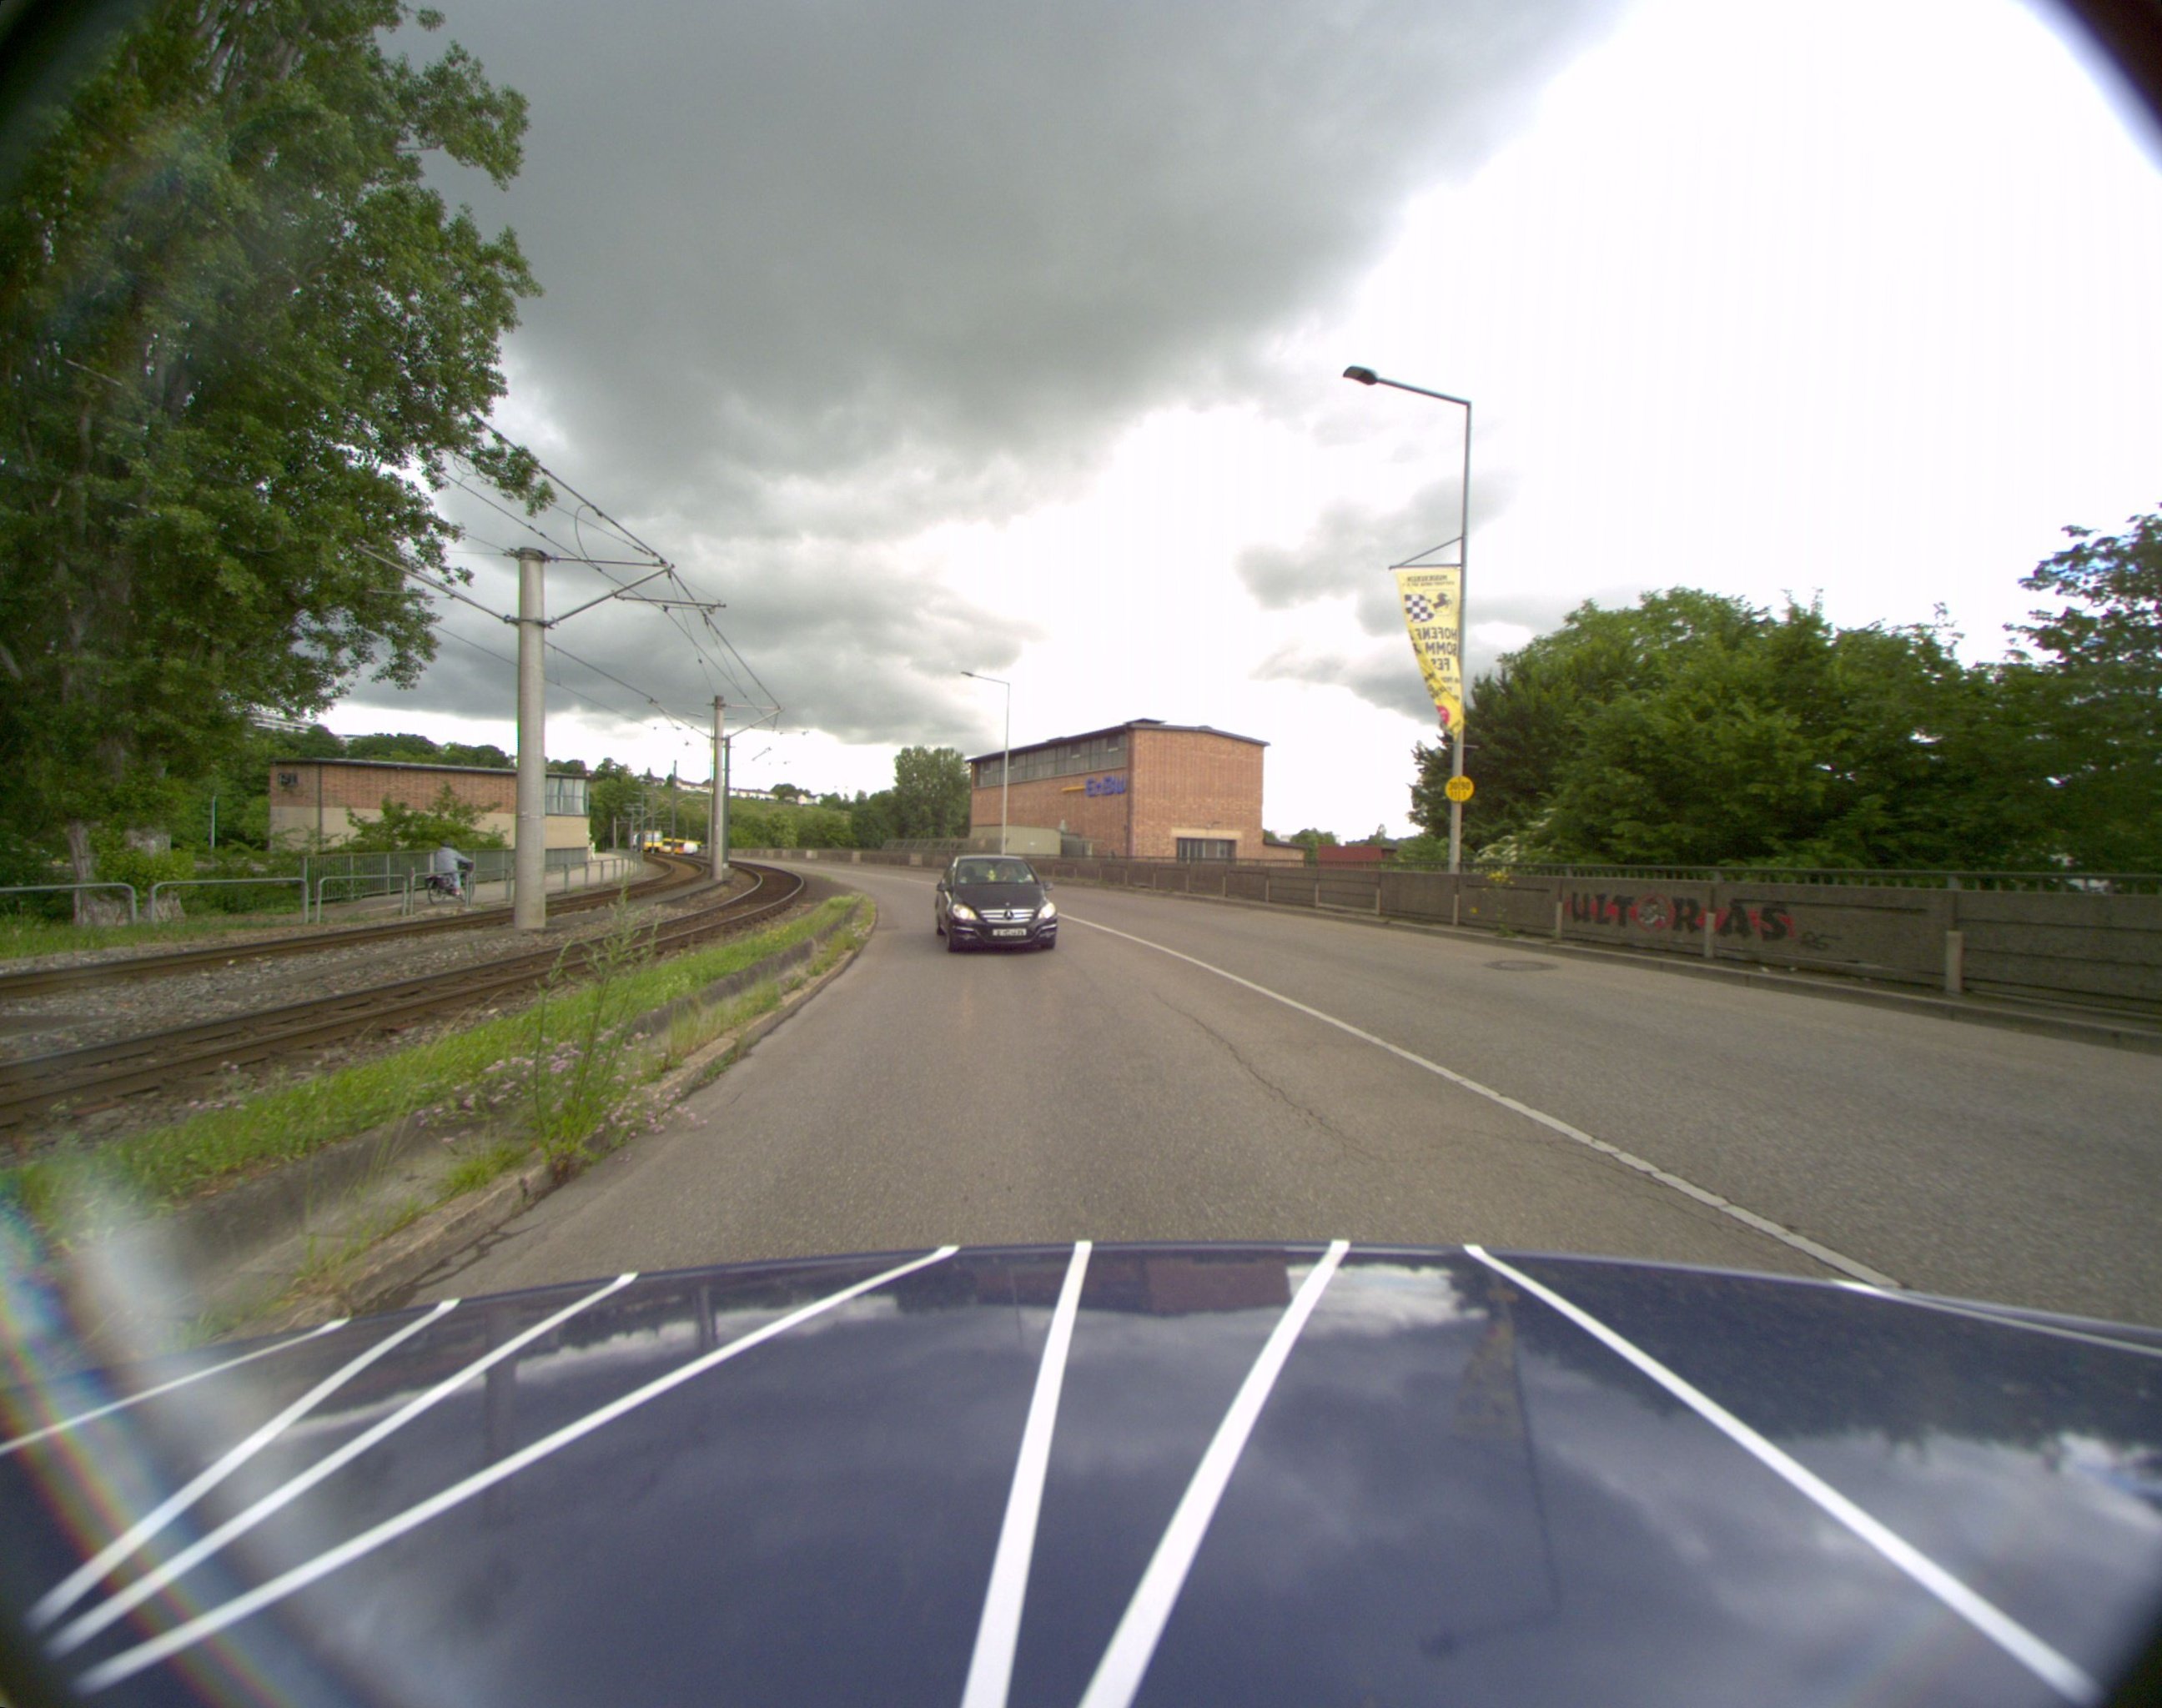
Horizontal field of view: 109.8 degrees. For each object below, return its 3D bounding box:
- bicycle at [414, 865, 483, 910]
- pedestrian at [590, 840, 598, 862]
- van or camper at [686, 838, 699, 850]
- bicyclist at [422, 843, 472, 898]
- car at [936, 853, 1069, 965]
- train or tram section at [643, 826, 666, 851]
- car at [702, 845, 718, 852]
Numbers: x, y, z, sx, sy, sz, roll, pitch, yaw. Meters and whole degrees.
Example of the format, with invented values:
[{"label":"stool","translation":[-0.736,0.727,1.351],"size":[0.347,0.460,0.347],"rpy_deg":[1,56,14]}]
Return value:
[{"label":"bicycle","translation":[-16.160,0.821,19.468],"size":[0.427,1.044,2.077],"rpy_deg":[-1,0,-12]},{"label":"pedestrian","translation":[-36.920,-0.255,57.615],"size":[0.512,1.655,0.351],"rpy_deg":[0,2,-37]},{"label":"van or camper","translation":[-82.471,-2.131,161.293],"size":[2.160,2.461,4.700],"rpy_deg":[-1,1,-25]},{"label":"bicyclist","translation":[-16.099,0.414,19.315],"size":[0.595,1.352,0.909],"rpy_deg":[-1,1,-12]},{"label":"car","translation":[-1.554,0.827,13.509],"size":[1.863,1.612,3.994],"rpy_deg":[0,1,-13]},{"label":"train or tram section","translation":[-68.696,-2.496,122.248],"size":[3.038,3.896,9.418],"rpy_deg":[0,1,-30]},{"label":"car","translation":[-88.798,-1.350,181.944],"size":[1.998,1.565,3.998],"rpy_deg":[0,2,1]}]
